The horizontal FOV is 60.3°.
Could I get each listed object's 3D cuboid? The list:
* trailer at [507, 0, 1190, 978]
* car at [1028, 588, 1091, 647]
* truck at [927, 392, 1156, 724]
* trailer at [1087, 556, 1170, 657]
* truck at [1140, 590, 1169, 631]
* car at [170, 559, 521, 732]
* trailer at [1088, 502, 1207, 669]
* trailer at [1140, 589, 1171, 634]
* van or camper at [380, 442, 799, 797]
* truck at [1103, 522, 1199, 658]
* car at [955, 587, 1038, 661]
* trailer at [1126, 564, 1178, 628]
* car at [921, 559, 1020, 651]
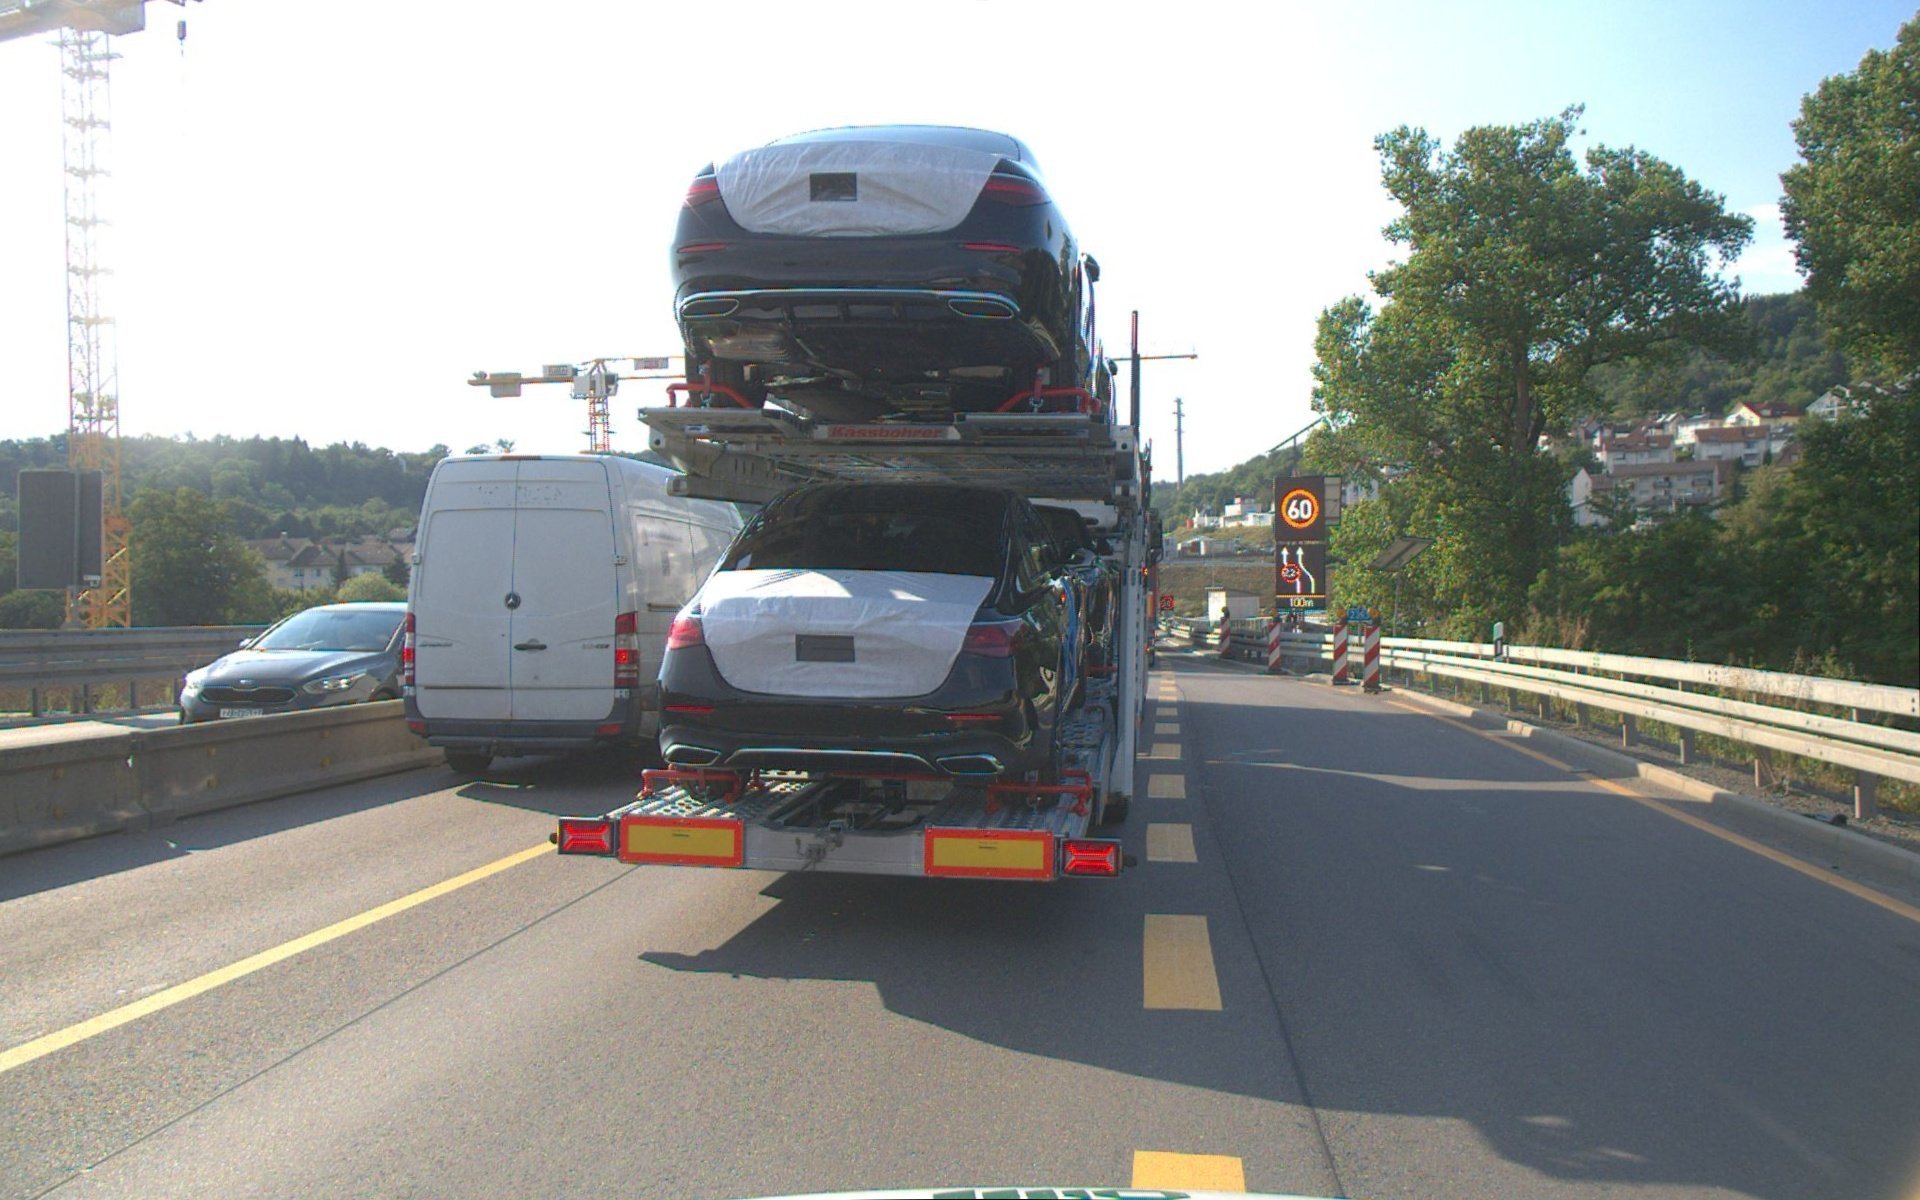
[{"bbox_3d":[0.365,-0.494,14.637,2.796,4.066,15.757,-1,0,6],"label":"trailer"},{"bbox_3d":[3.101,0.533,50.965,1.791,1.683,4.002,-2,0,4],"label":"car"},{"bbox_3d":[1.355,-0.505,23.767,2.788,4.066,6.629,-1,0,6],"label":"truck"},{"bbox_3d":[7.677,0.265,75.003,3.313,4.066,14.755,-1,0,6],"label":"trailer"},{"bbox_3d":[20.873,1.119,177.773,3.032,4.360,6.629,-1,0,6],"label":"truck"},{"bbox_3d":[-6.051,0.415,16.825,1.791,1.487,4.002,-2,0,4],"label":"car"},{"bbox_3d":[5.455,-0.359,47.375,2.896,4.163,10.801,-2,0,7],"label":"trailer"},{"bbox_3d":[20.097,1.122,170.518,3.038,4.389,14.262,-1,0,6],"label":"trailer"},{"bbox_3d":[-3.114,0.147,15.488,1.951,2.666,5.908,0,0,7],"label":"van or camper"},{"bbox_3d":[6.175,-0.302,53.119,2.823,4.066,6.629,-1,0,7],"label":"truck"},{"bbox_3d":[0.945,0.569,41.142,1.791,1.683,4.002,-2,0,4],"label":"car"},{"bbox_3d":[13.186,-0.266,113.962,3.313,4.066,14.755,-1,0,6],"label":"trailer"},{"bbox_3d":[0.282,0.105,35.271,1.791,1.783,4.002,-2,0,4],"label":"car"}]
